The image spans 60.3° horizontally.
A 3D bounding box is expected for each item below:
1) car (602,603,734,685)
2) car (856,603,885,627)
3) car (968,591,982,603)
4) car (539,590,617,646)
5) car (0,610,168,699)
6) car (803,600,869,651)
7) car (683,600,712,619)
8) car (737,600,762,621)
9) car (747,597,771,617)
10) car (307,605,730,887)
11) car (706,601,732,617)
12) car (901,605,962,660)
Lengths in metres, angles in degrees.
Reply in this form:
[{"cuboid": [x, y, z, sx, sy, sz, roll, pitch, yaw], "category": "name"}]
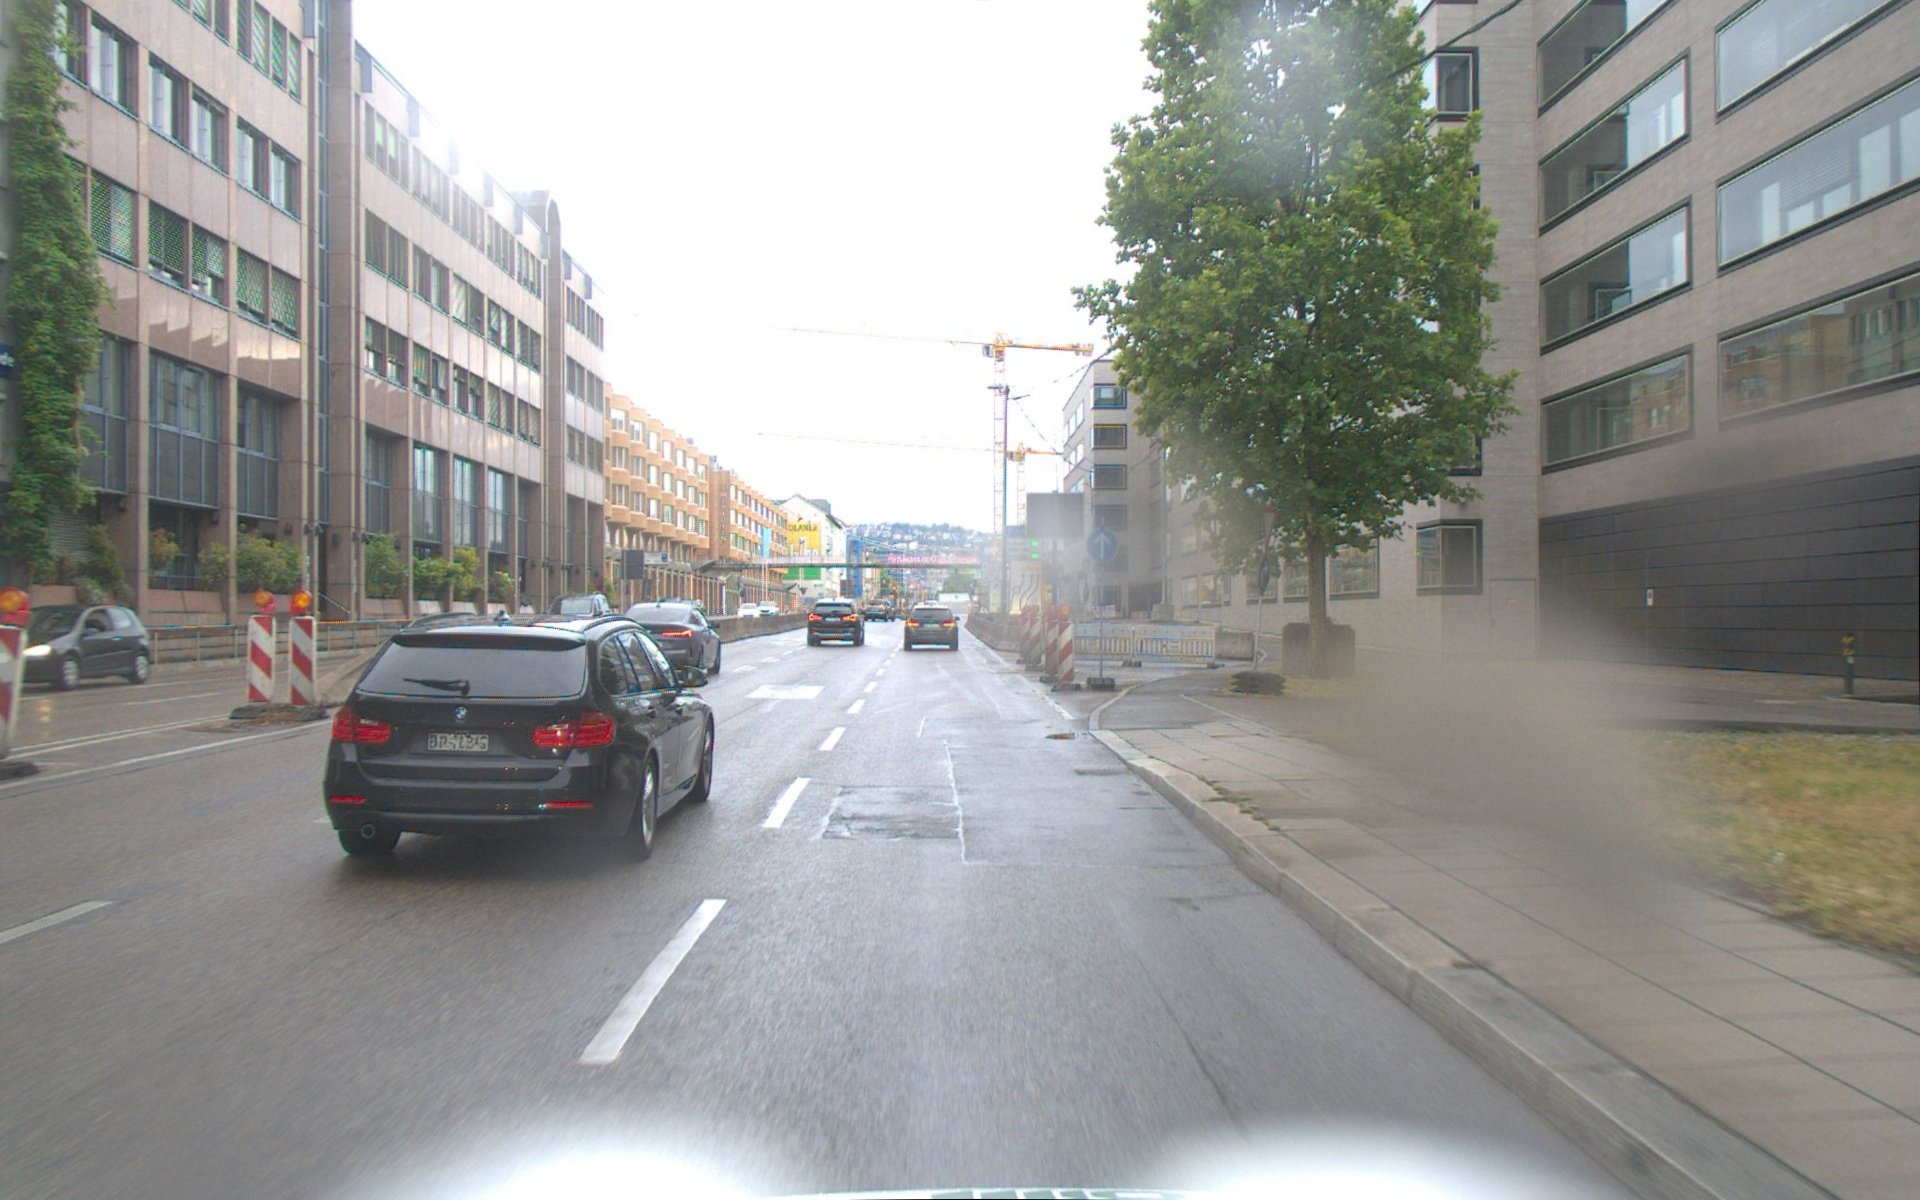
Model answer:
[{"cuboid": [-5.685, 0.818, 32.666, 1.754, 1.451, 4.385, -1, 0, 0], "category": "car"}, {"cuboid": [-6.752, 1.146, 125.014, 1.860, 1.723, 4.001, -1, 0, 2], "category": "car"}, {"cuboid": [2.156, -0.477, 241.945, 1.860, 1.723, 4.001, -1, 0, 2], "category": "car"}, {"cuboid": [-13.135, 0.595, 57.150, 1.686, 1.801, 4.424, -1, 0, -1], "category": "car"}, {"cuboid": [-15.893, 0.932, 29.370, 1.664, 1.424, 4.021, -1, 0, 1], "category": "car"}, {"cuboid": [-4.402, 0.871, 59.183, 1.860, 1.723, 4.001, -1, 0, 2], "category": "car"}, {"cuboid": [-23.955, 0.831, 151.199, 1.953, 1.648, 4.317, -1, 0, -1], "category": "car"}, {"cuboid": [-16.840, 0.819, 132.680, 1.570, 1.467, 3.657, -1, 2, -1], "category": "car"}, {"cuboid": [-18.619, 0.653, 153.528, 1.783, 1.647, 4.190, -1, 2, -2], "category": "car"}, {"cuboid": [-2.650, 0.783, 11.058, 1.755, 1.451, 4.610, 1, 0, -3], "category": "car"}, {"cuboid": [-24.452, 0.901, 167.997, 1.953, 1.648, 4.689, -1, 0, -1], "category": "car"}, {"cuboid": [-0.912, 1.042, 54.804, 1.861, 1.723, 4.000, -1, 0, 1], "category": "car"}]
